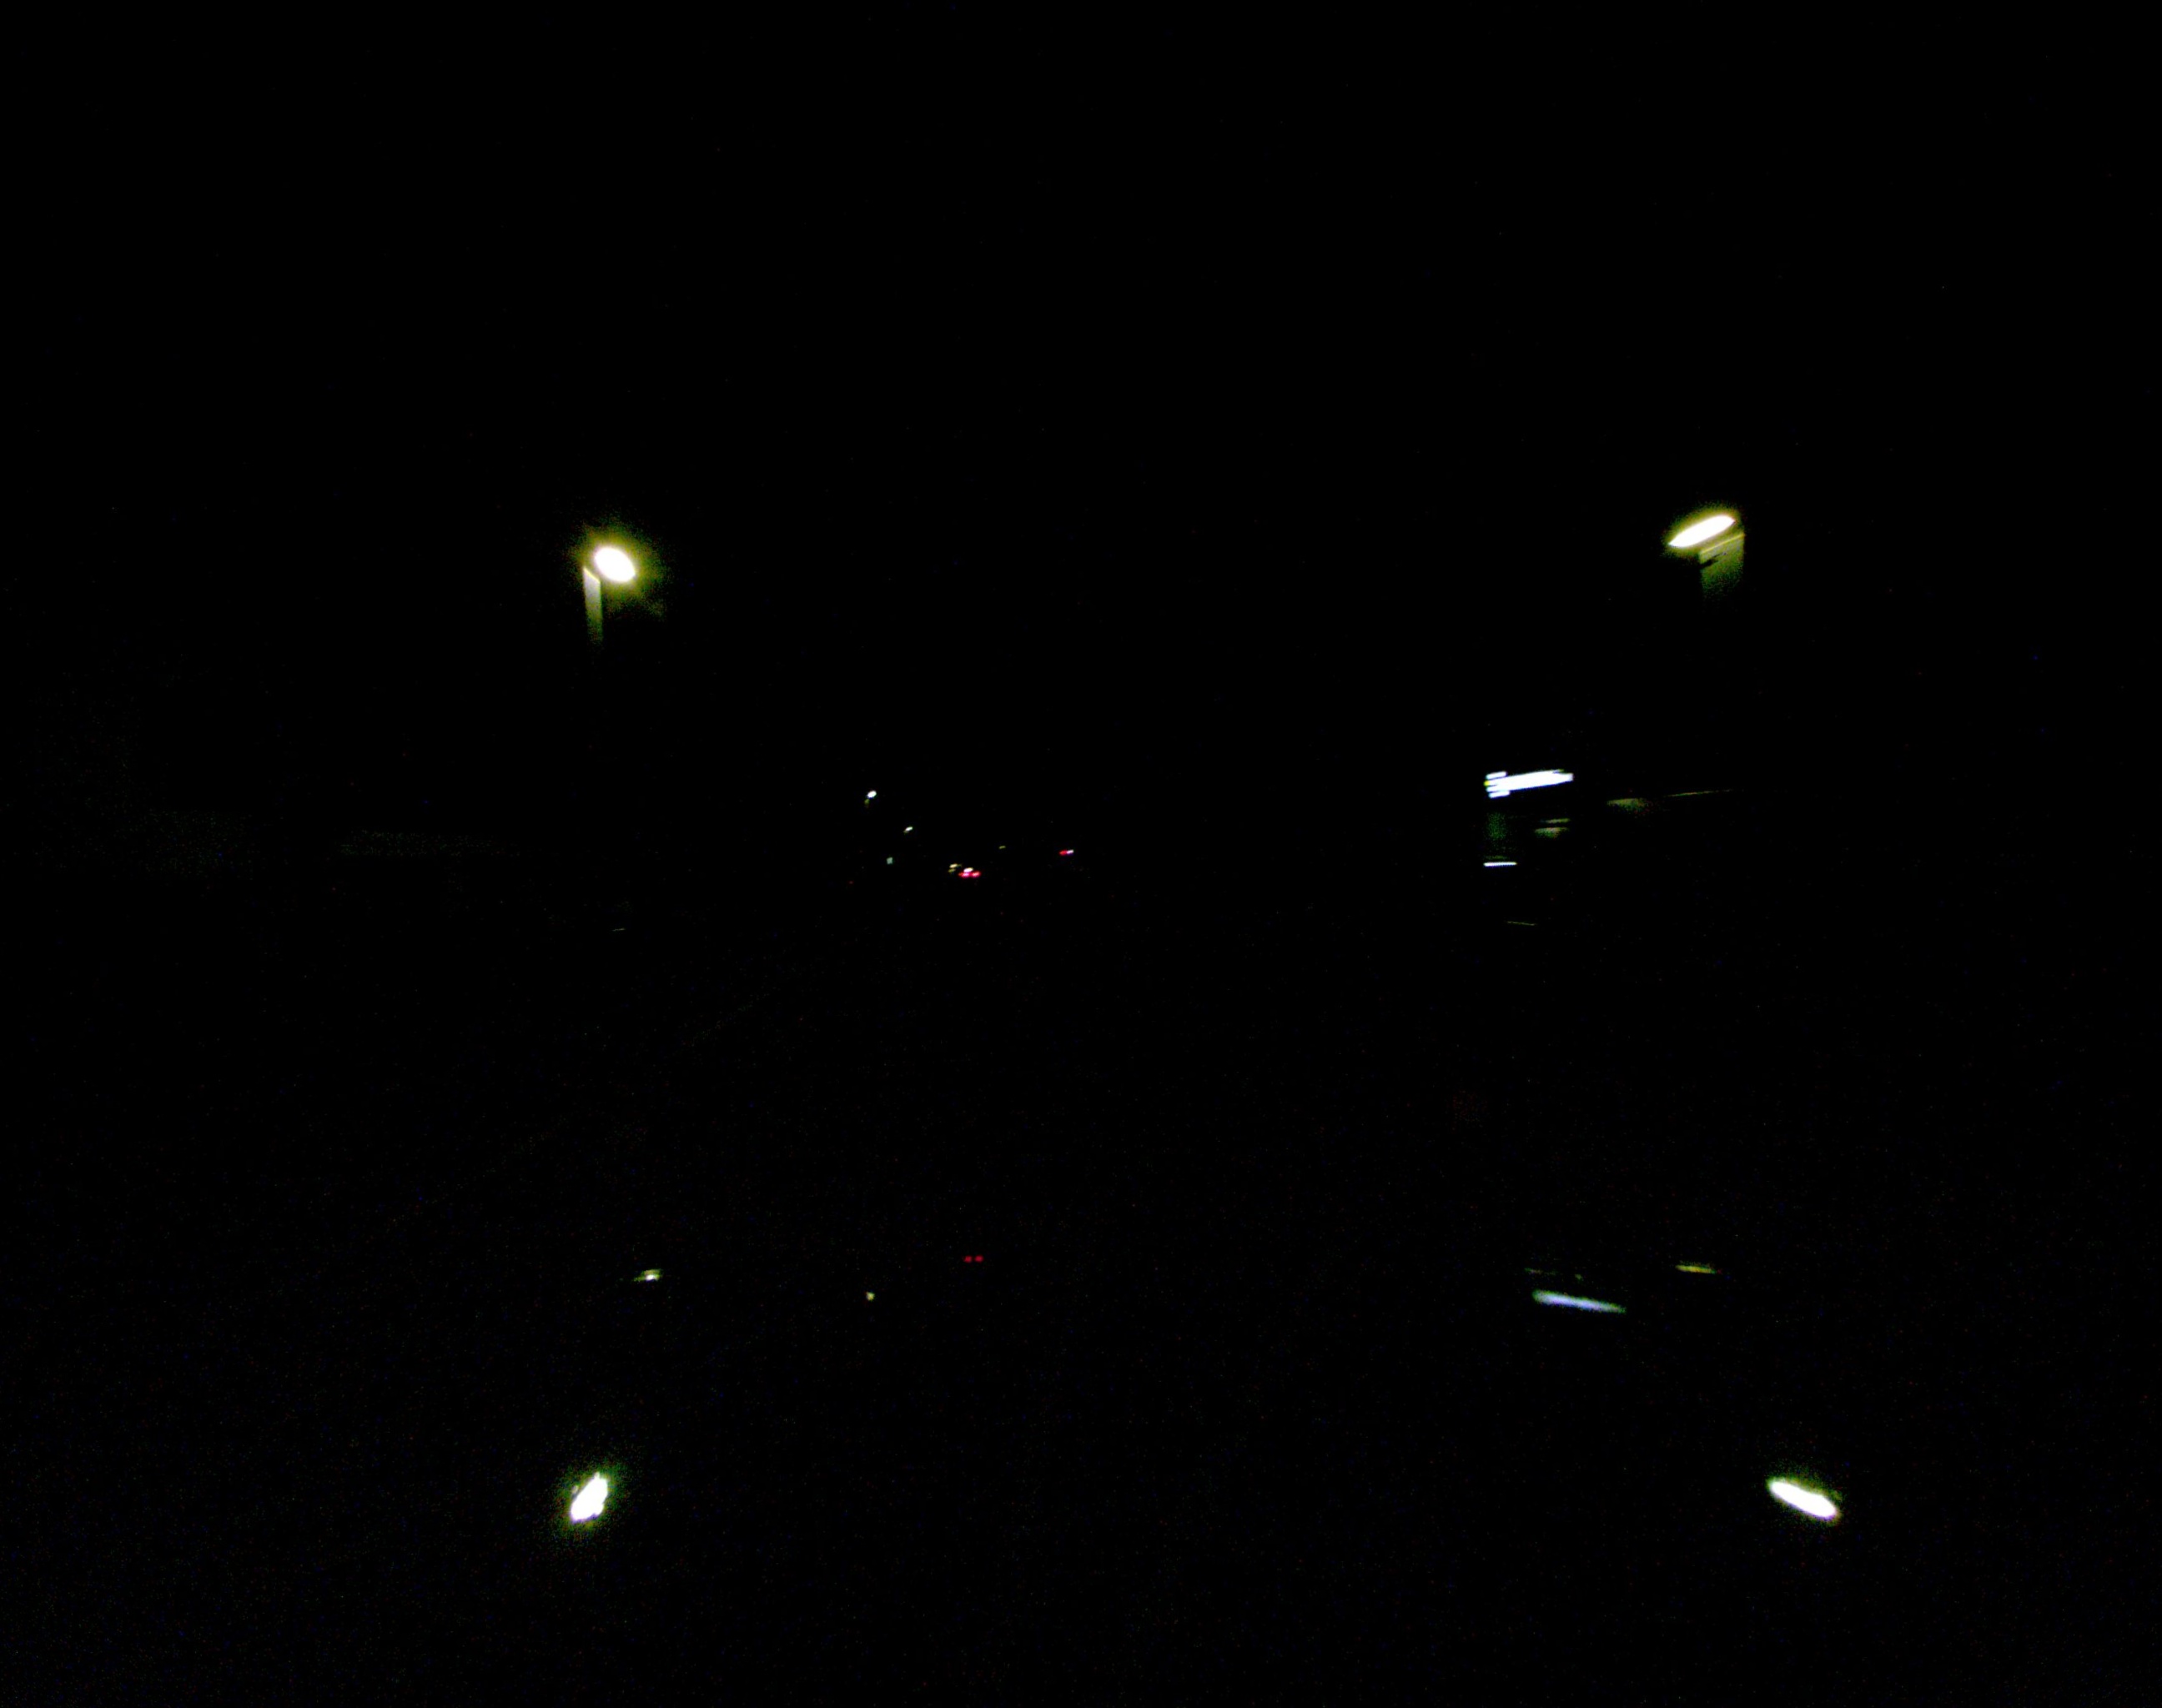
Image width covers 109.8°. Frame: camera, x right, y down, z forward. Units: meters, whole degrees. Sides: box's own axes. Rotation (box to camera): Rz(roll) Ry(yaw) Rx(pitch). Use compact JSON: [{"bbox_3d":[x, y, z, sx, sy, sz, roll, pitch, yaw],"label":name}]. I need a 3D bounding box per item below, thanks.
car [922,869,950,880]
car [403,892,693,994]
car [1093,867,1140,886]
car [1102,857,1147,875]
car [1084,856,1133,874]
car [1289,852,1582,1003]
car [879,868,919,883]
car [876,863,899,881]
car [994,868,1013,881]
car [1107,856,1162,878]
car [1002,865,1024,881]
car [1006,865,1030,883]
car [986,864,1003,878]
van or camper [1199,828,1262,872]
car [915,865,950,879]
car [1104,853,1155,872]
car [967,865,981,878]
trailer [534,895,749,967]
[{"bbox_3d":[-21.622,3.020,113.671,3.927,1.542,1.987,-1,-1,-5],"label":"car"},{"bbox_3d":[-8.457,1.372,12.379,3.403,1.224,1.723,-3,0,-11],"label":"car"},{"bbox_3d":[3.236,2.067,70.269,3.999,1.455,1.999,-3,0,-8],"label":"car"},{"bbox_3d":[4.131,1.145,72.565,3.999,1.608,1.999,-2,0,-6],"label":"car"},{"bbox_3d":[2.706,1.086,75.161,4.328,1.552,2.027,-2,0,-16],"label":"car"},{"bbox_3d":[4.537,0.835,10.489,1.678,1.581,3.984,-3,0,-9],"label":"car"},{"bbox_3d":[-19.238,2.294,80.449,3.917,1.477,1.831,0,-1,-9],"label":"car"},{"bbox_3d":[-17.071,1.593,67.102,1.645,1.550,3.676,-2,-1,-10],"label":"car"},{"bbox_3d":[-10.801,2.803,105.970,2.123,1.539,4.472,-6,1,-11],"label":"car"},{"bbox_3d":[4.242,1.043,60.340,4.003,1.692,1.946,0,-1,-16],"label":"car"},{"bbox_3d":[-7.629,2.136,85.030,1.935,1.627,4.467,-3,-1,-10],"label":"car"},{"bbox_3d":[-5.745,1.817,69.438,1.755,1.460,4.006,-3,-1,-10],"label":"car"},{"bbox_3d":[-13.436,2.685,117.710,2.123,1.935,4.884,-4,0,-11],"label":"car"},{"bbox_3d":[10.090,-0.218,51.791,2.081,2.731,5.925,-3,0,-10],"label":"van or camper"},{"bbox_3d":[-20.027,2.427,102.436,4.367,1.805,2.031,-1,-1,-4],"label":"car"},{"bbox_3d":[4.234,0.766,66.809,4.129,1.652,1.999,0,-1,-8],"label":"car"},{"bbox_3d":[-15.920,2.587,113.150,2.009,1.737,4.555,-2,0,-8],"label":"car"},{"bbox_3d":[-9.259,1.596,16.319,3.443,0.996,1.953,-5,0,-9],"label":"trailer"}]
